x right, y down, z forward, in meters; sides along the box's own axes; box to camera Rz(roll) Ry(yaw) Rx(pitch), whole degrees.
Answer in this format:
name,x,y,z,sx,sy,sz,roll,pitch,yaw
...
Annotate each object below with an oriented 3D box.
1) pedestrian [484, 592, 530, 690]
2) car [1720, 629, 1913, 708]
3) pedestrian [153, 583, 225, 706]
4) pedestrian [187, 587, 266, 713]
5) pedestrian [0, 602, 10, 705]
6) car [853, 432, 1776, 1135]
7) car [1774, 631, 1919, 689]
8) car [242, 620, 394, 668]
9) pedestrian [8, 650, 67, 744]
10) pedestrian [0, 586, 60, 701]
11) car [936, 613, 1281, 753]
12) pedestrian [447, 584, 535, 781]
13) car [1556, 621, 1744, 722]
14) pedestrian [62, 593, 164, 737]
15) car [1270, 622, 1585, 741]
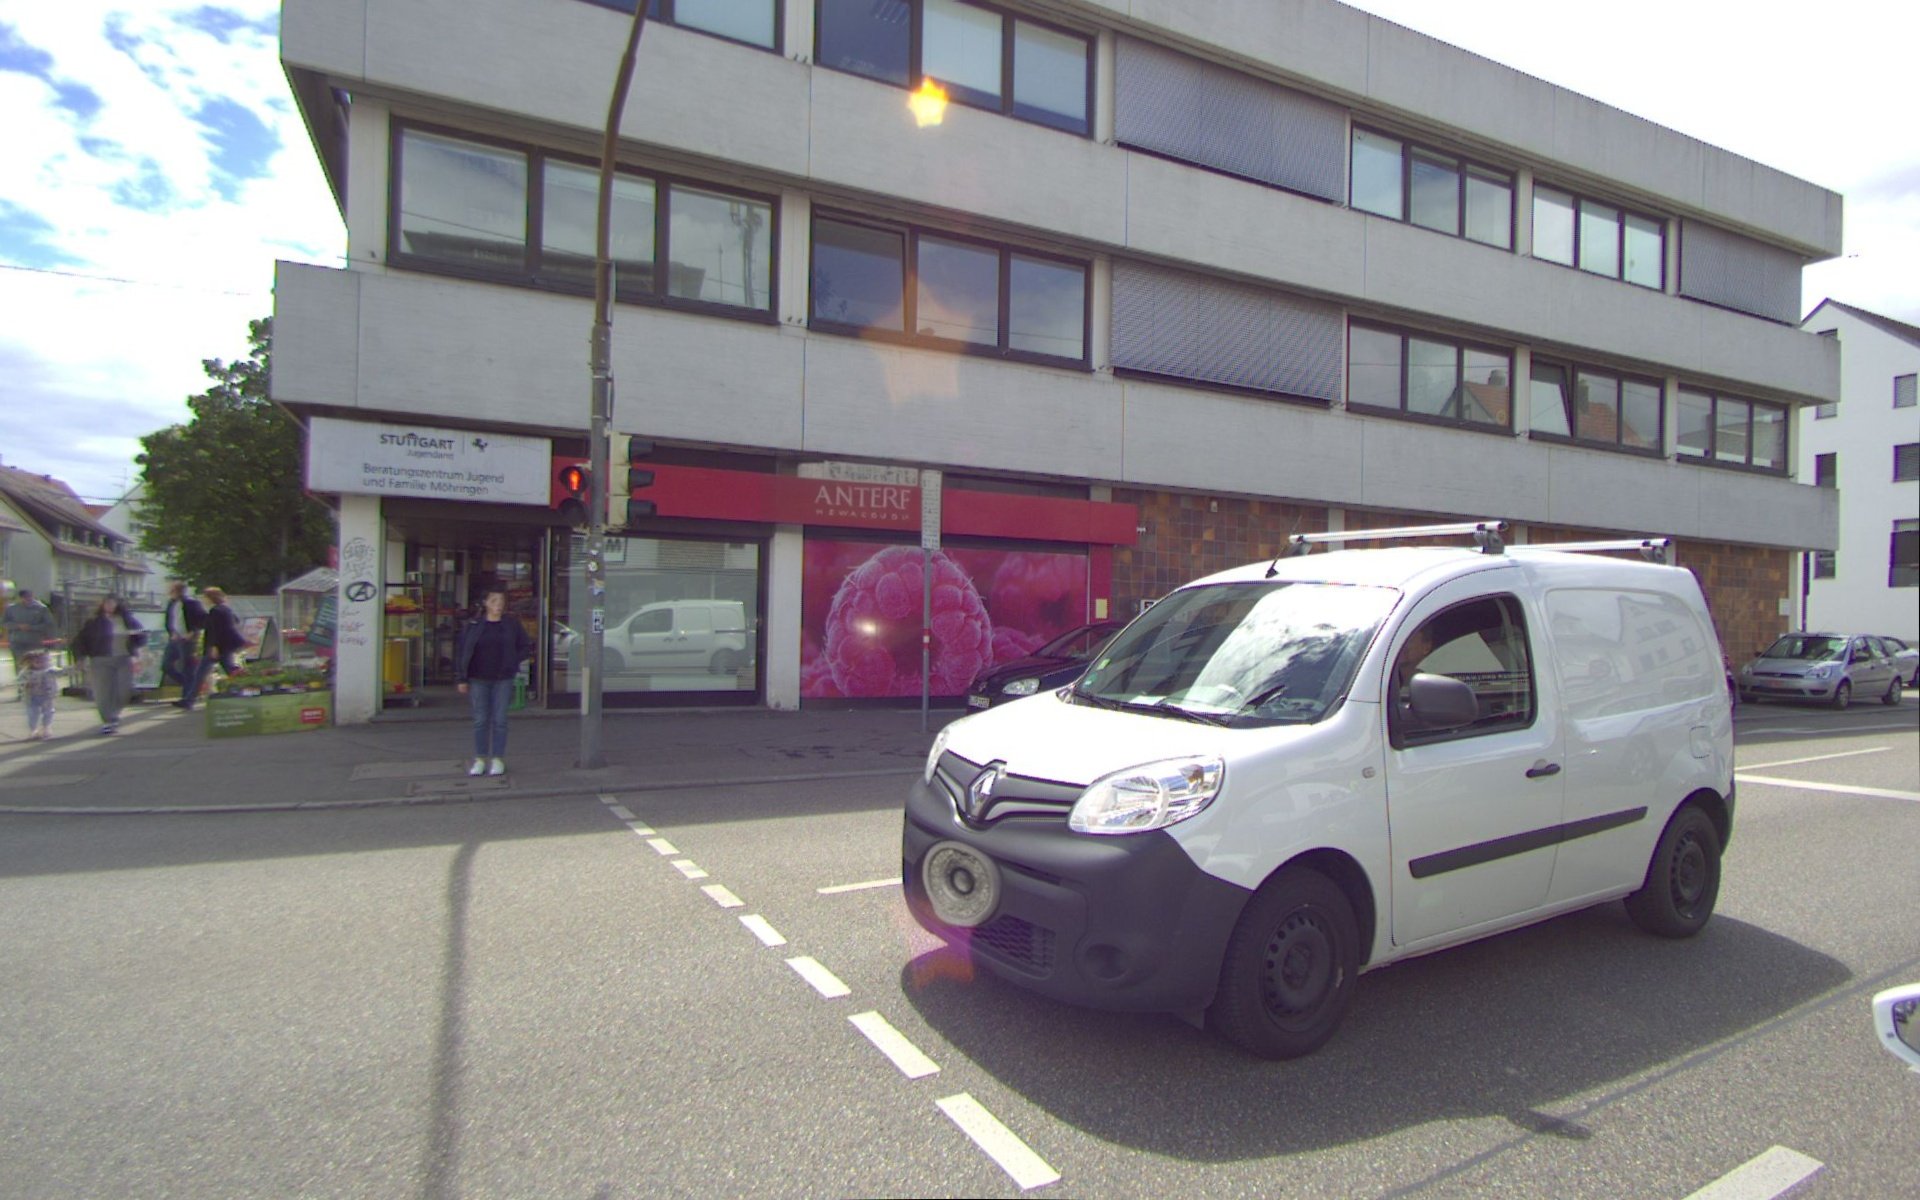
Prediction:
name,x,y,z,sx,sy,sz,roll,pitch,yaw
pedestrian,-8.841,0.797,19.598,0.671,1.860,0.727,1,-2,-38
car,17.519,1.337,20.533,3.814,1.445,1.748,1,-1,-28
pedestrian,-11.619,0.670,15.152,0.545,1.799,0.622,2,-1,-6
pedestrian,-10.640,0.717,14.581,0.381,1.762,0.779,2,-1,30
pedestrian,-15.409,0.838,15.728,0.671,1.598,0.727,1,-2,-38
car,1.770,0.559,4.641,4.109,1.943,1.829,2,-1,-31
car,23.734,1.552,26.812,3.796,1.416,1.898,1,-2,-30
car,-19.915,1.348,31.325,3.670,1.404,1.775,1,-1,-21
pedestrian,-10.374,1.076,11.300,0.357,1.018,0.384,2,-1,34
pedestrian,-15.531,0.722,16.765,0.671,1.860,0.727,1,-2,-38
car,1.904,0.972,12.752,4.034,1.484,1.778,2,0,-27
pedestrian,-4.176,0.708,8.941,0.652,1.663,0.616,1,-1,-29
car,12.040,1.178,17.525,2.909,1.564,1.600,1,1,-30
pedestrian,-9.982,0.745,11.843,0.712,1.618,0.695,2,-1,33
car,6.897,1.106,14.781,4.385,1.463,1.897,1,0,-27
